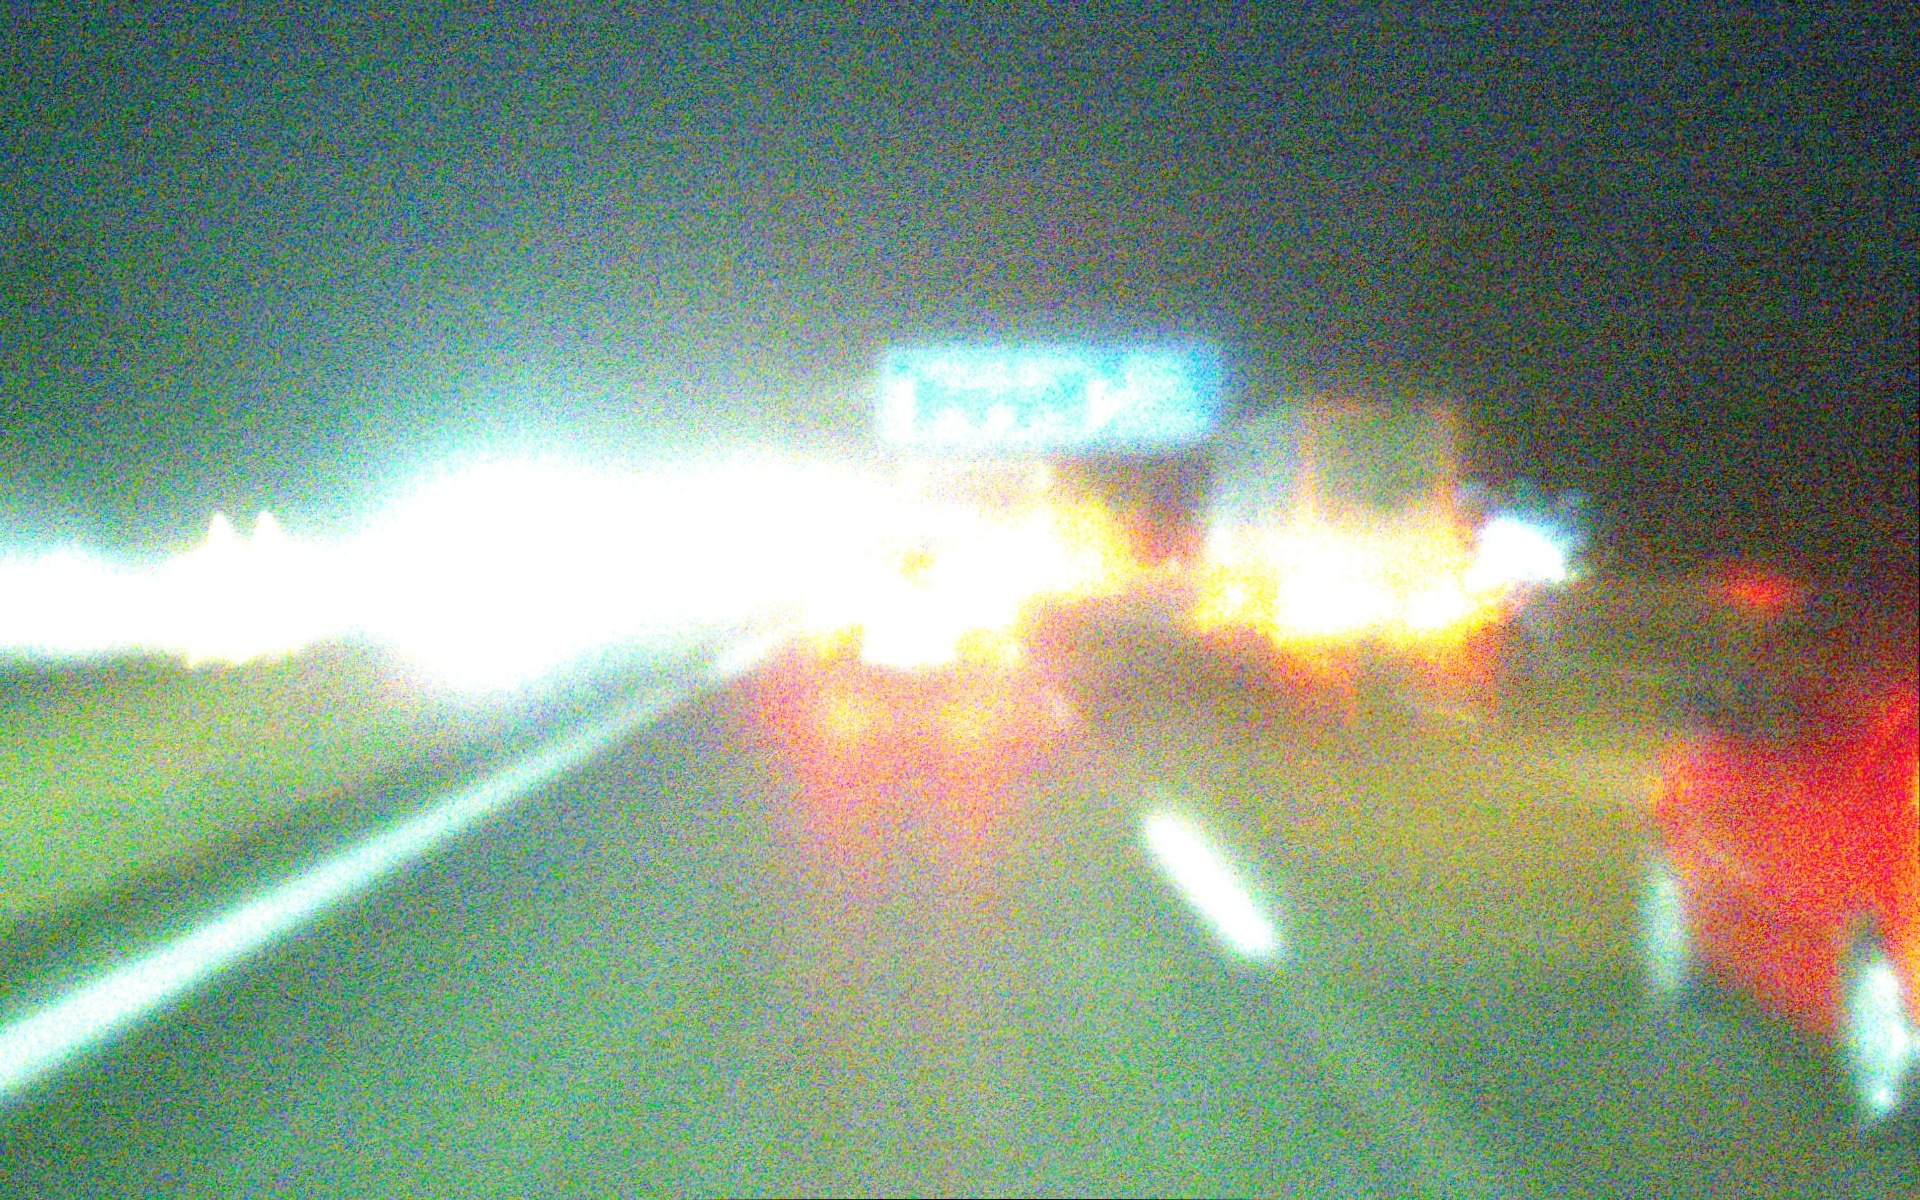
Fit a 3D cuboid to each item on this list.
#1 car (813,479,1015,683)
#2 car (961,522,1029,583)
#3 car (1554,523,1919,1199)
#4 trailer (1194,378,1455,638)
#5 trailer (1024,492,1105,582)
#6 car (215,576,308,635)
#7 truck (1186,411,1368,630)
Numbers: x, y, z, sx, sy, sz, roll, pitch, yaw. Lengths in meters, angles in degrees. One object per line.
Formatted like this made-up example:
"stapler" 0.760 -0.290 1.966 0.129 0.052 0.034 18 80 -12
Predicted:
"car" -0.490 -0.205 36.482 1.993 2.007 4.000 1 0 -1
"car" 1.209 -1.660 120.652 1.993 2.007 4.000 -2 0 -4
"car" 3.060 0.608 10.194 1.740 1.570 4.494 0 0 -1
"trailer" 6.321 -1.514 62.196 2.903 4.094 14.488 -1 0 -1
"trailer" 5.184 -3.087 173.713 3.041 4.095 13.829 -2 0 -2
"car" -21.476 0.144 105.807 1.993 1.708 4.246 -1 1 0
"truck" 6.234 -1.534 68.466 2.903 4.094 6.031 -1 0 -1
